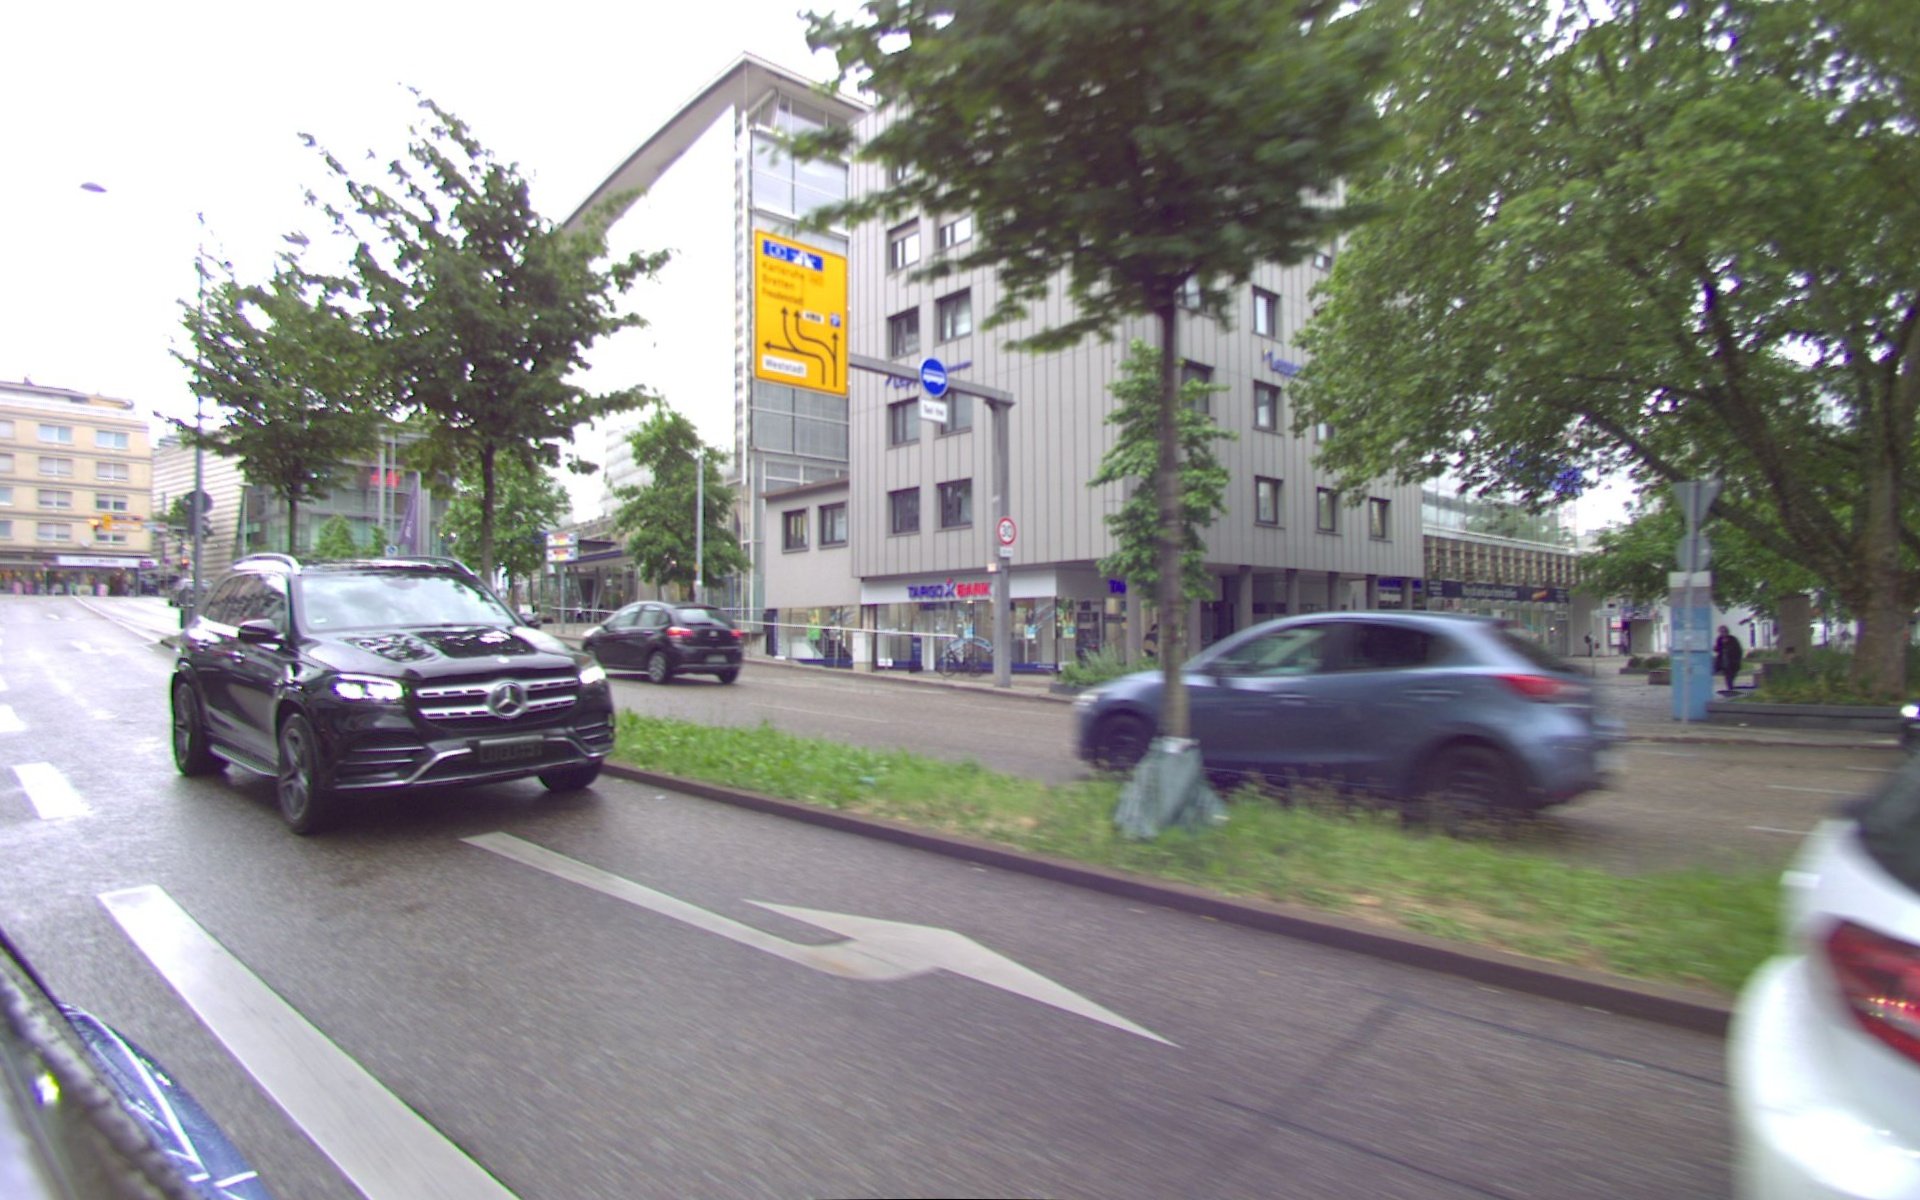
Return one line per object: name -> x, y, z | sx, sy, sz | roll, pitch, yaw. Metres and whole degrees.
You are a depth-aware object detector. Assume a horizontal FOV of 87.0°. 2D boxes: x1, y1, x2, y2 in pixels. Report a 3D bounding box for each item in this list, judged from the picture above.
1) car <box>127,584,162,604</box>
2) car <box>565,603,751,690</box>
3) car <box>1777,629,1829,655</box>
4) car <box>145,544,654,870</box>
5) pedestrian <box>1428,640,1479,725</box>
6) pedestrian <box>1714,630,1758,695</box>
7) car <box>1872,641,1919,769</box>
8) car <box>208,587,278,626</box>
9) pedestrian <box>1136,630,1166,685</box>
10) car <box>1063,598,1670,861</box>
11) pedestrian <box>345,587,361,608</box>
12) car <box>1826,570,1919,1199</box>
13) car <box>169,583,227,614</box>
car -> -87.280, -0.645, 108.346 | 3.992, 2.029, 1.976 | 1, 2, 36
car -> -5.858, 0.867, 19.432 | 3.878, 1.503, 1.601 | -1, -4, 42
car -> 62.899, 3.144, 75.519 | 3.745, 1.763, 1.922 | 0, 1, -32
car -> -4.600, 0.524, 7.914 | 4.884, 1.791, 1.973 | 2, 2, 42
pedestrian -> 9.596, 1.587, 19.685 | 0.700, 1.619, 0.670 | -3, -5, 44
pedestrian -> 17.203, 1.393, 22.444 | 0.540, 1.417, 0.527 | 1, -4, -22
car -> 12.852, 1.218, 11.256 | 4.352, 1.407, 1.939 | 2, -2, -15
car -> -29.702, 0.262, 41.890 | 3.647, 1.448, 1.607 | 2, -1, 42
pedestrian -> 5.992, 1.803, 31.776 | 0.613, 1.669, 0.633 | 2, -1, -42
car -> 2.907, 0.790, 7.714 | 3.956, 1.490, 1.695 | 0, -3, 42
pedestrian -> -56.212, -0.261, 93.736 | 0.736, 1.912, 0.977 | 1, 1, 26
car -> 3.175, 0.668, 0.625 | 3.998, 1.420, 1.747 | 0, 0, 41
car -> -40.876, -0.082, 54.263 | 1.970, 1.520, 4.189 | 2, 0, -44
